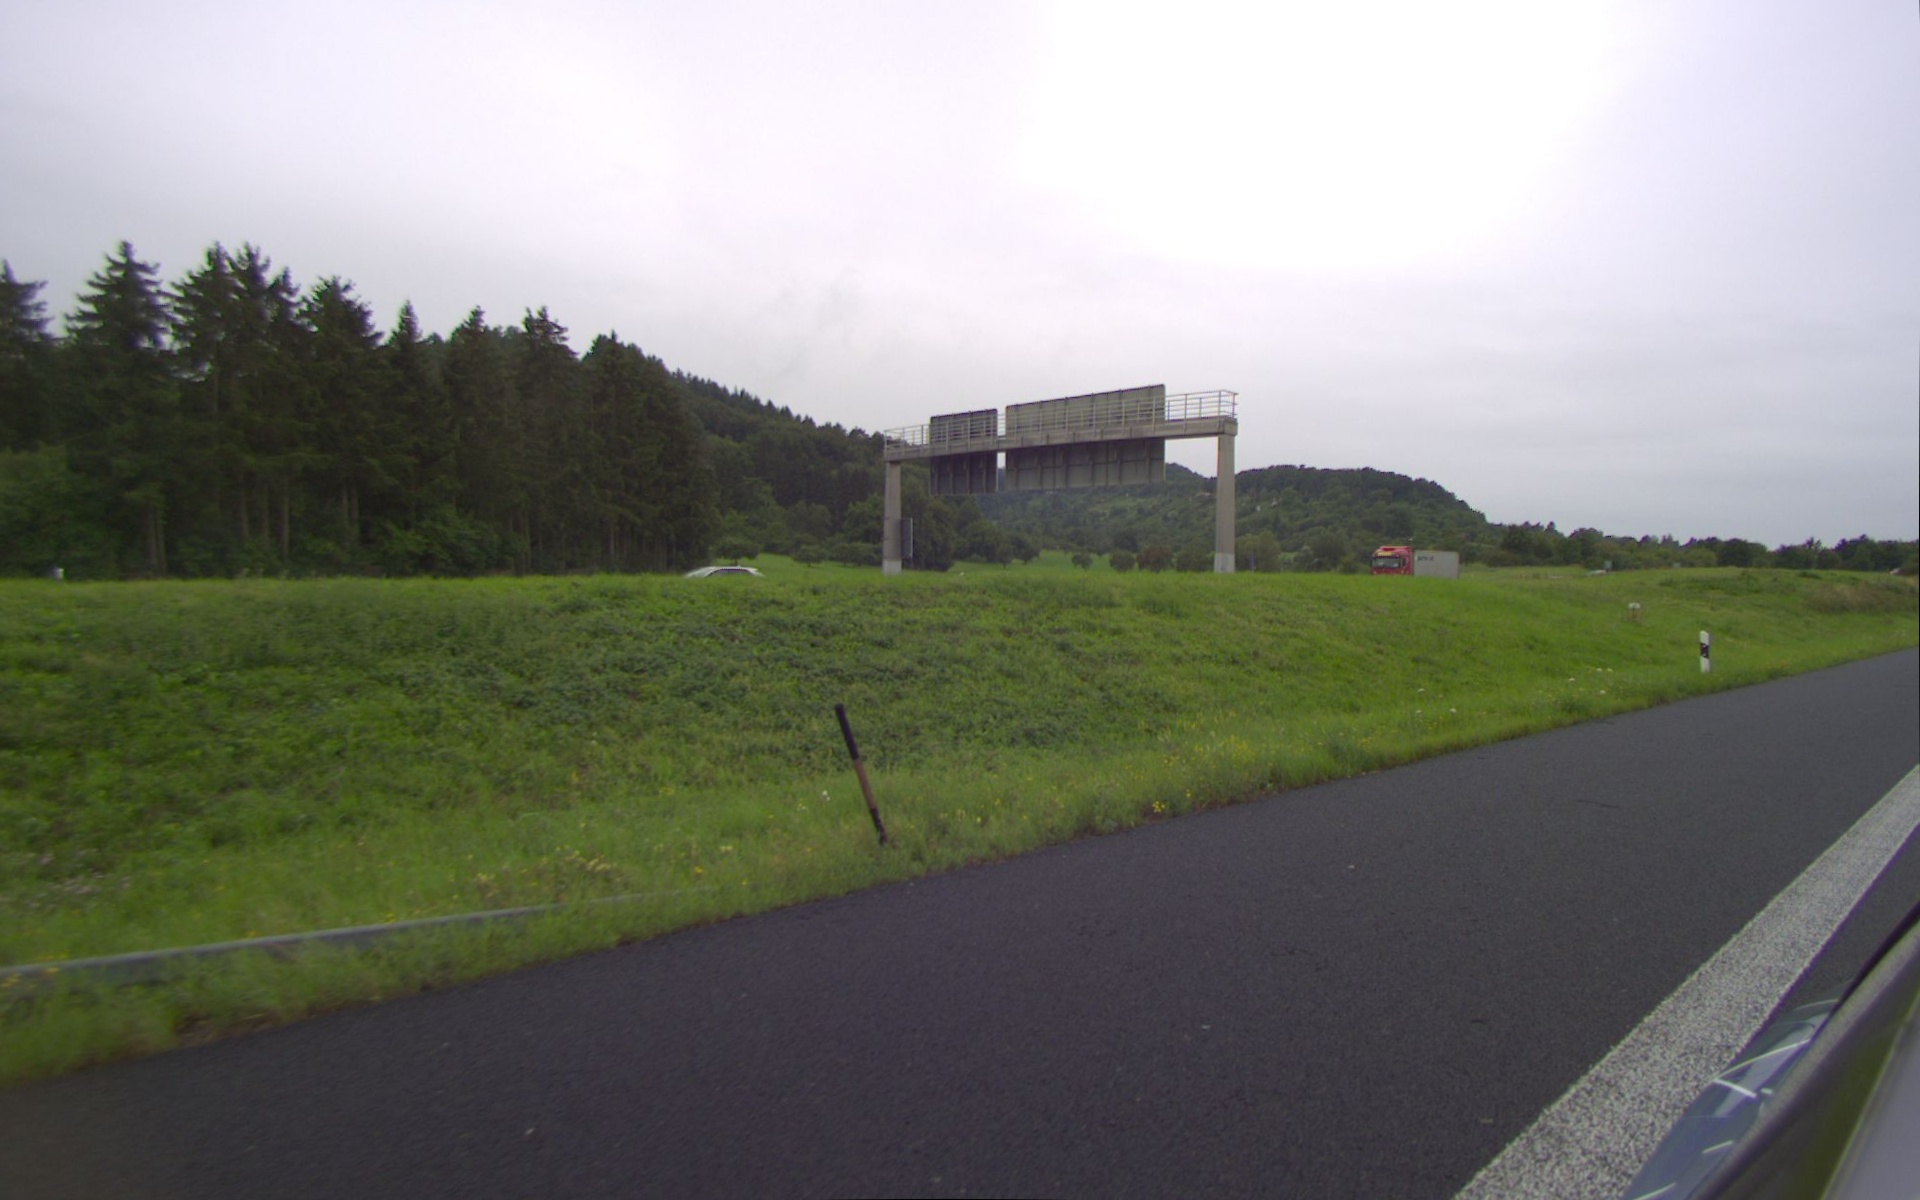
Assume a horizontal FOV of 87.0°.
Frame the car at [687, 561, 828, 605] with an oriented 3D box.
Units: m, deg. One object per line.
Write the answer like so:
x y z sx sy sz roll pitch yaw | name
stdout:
-7.434 -0.610 37.468 4.949 1.522 1.821 0 1 -44 | car

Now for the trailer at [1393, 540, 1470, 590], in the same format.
41.777 -2.958 89.364 2.490 4.034 12.212 -1 0 43 | trailer

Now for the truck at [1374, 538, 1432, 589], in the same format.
36.995 -2.988 84.371 2.509 4.037 5.832 -1 0 45 | truck
